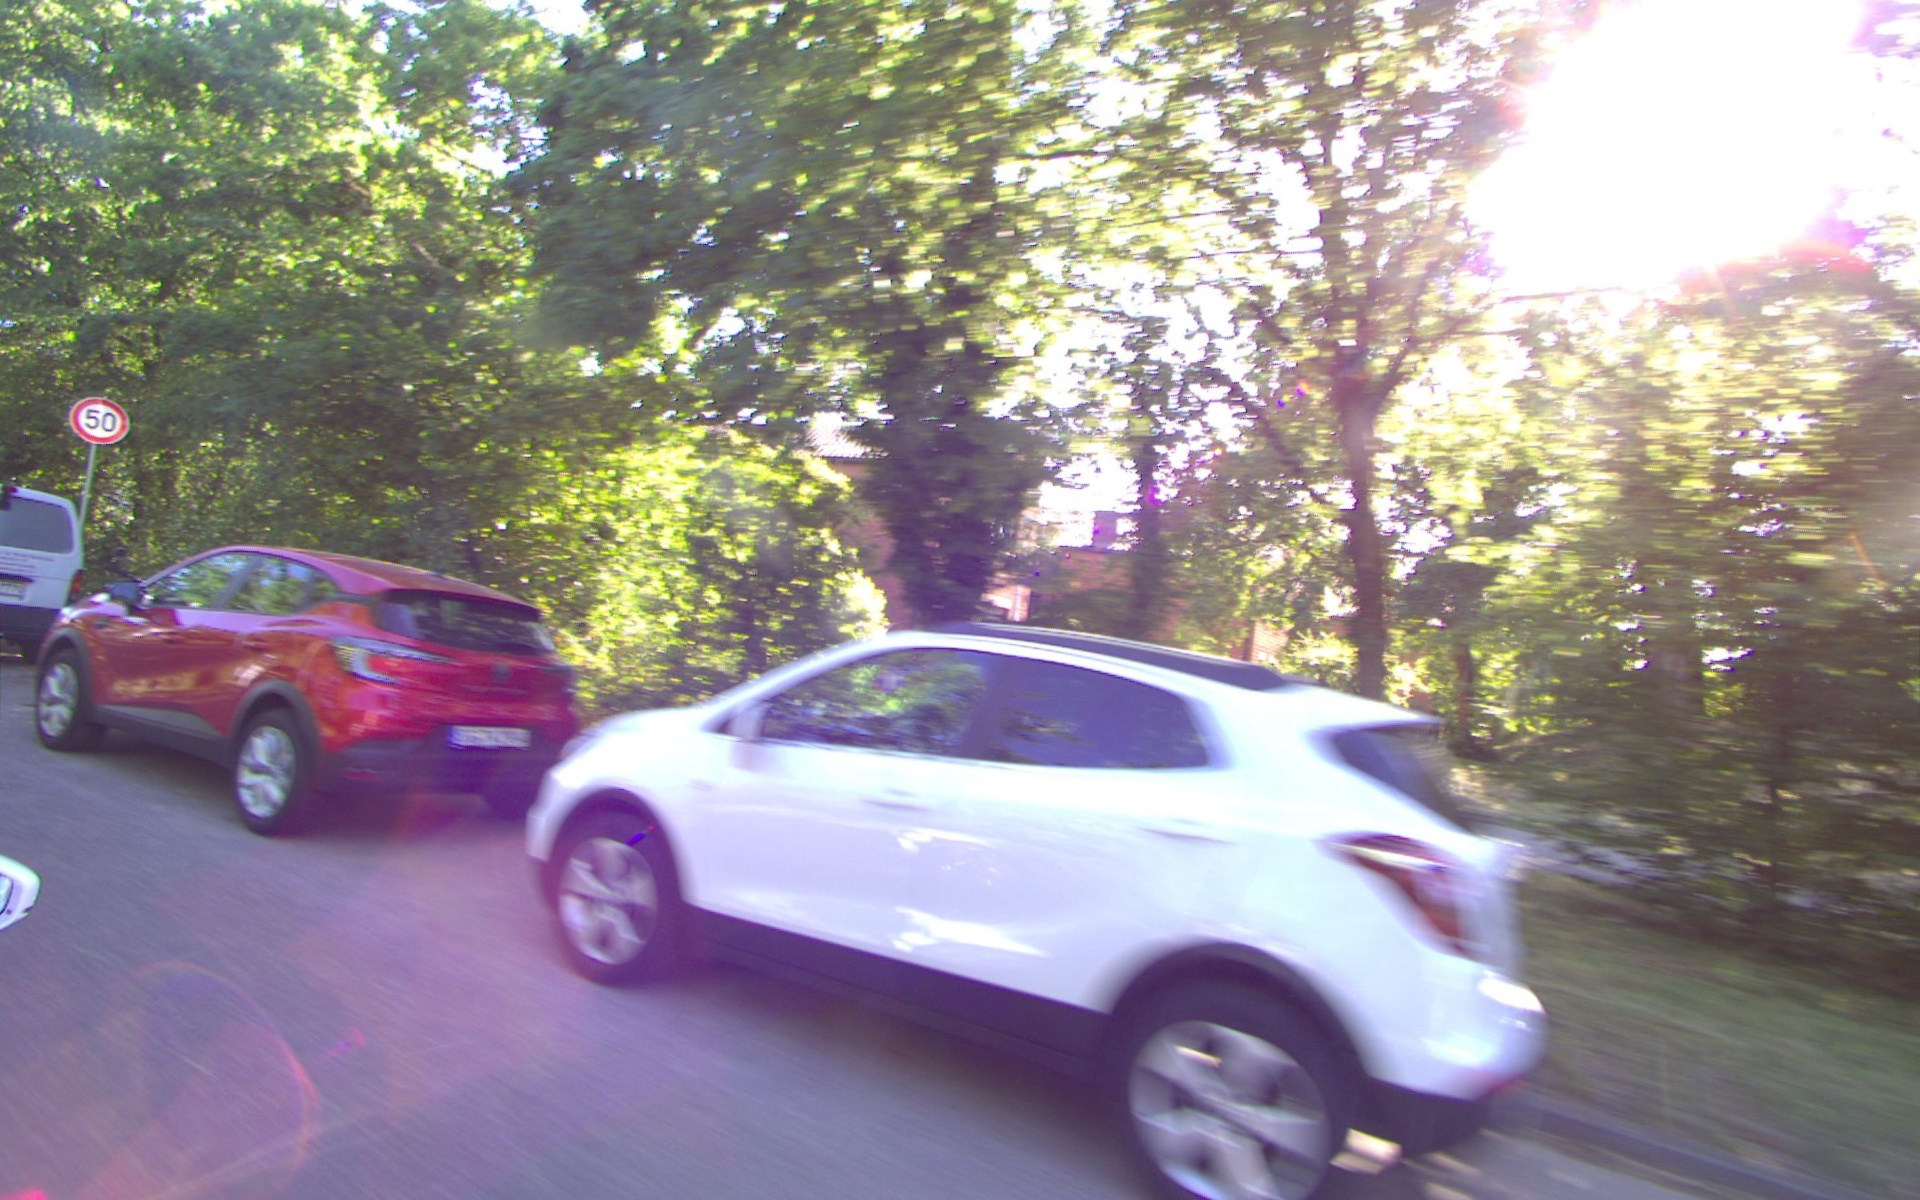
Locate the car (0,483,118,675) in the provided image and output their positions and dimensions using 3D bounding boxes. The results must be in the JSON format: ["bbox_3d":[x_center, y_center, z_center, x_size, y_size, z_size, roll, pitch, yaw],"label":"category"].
[{"bbox_3d":[-10.916,-0.406,10.704,3.606,1.791,1.629,7,-4,30],"label":"car"}]

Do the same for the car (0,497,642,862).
[{"bbox_3d":[-4.379,0.422,6.810,3.994,1.638,1.783,7,-4,28],"label":"car"}]

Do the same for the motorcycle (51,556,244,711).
[{"bbox_3d":[-7.843,0.302,9.685,2.001,1.208,0.649,6,-3,31],"label":"motorcycle"}]

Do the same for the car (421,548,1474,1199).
[{"bbox_3d":[-0.118,0.906,4.334,3.994,1.638,1.783,7,-4,28],"label":"car"}]
